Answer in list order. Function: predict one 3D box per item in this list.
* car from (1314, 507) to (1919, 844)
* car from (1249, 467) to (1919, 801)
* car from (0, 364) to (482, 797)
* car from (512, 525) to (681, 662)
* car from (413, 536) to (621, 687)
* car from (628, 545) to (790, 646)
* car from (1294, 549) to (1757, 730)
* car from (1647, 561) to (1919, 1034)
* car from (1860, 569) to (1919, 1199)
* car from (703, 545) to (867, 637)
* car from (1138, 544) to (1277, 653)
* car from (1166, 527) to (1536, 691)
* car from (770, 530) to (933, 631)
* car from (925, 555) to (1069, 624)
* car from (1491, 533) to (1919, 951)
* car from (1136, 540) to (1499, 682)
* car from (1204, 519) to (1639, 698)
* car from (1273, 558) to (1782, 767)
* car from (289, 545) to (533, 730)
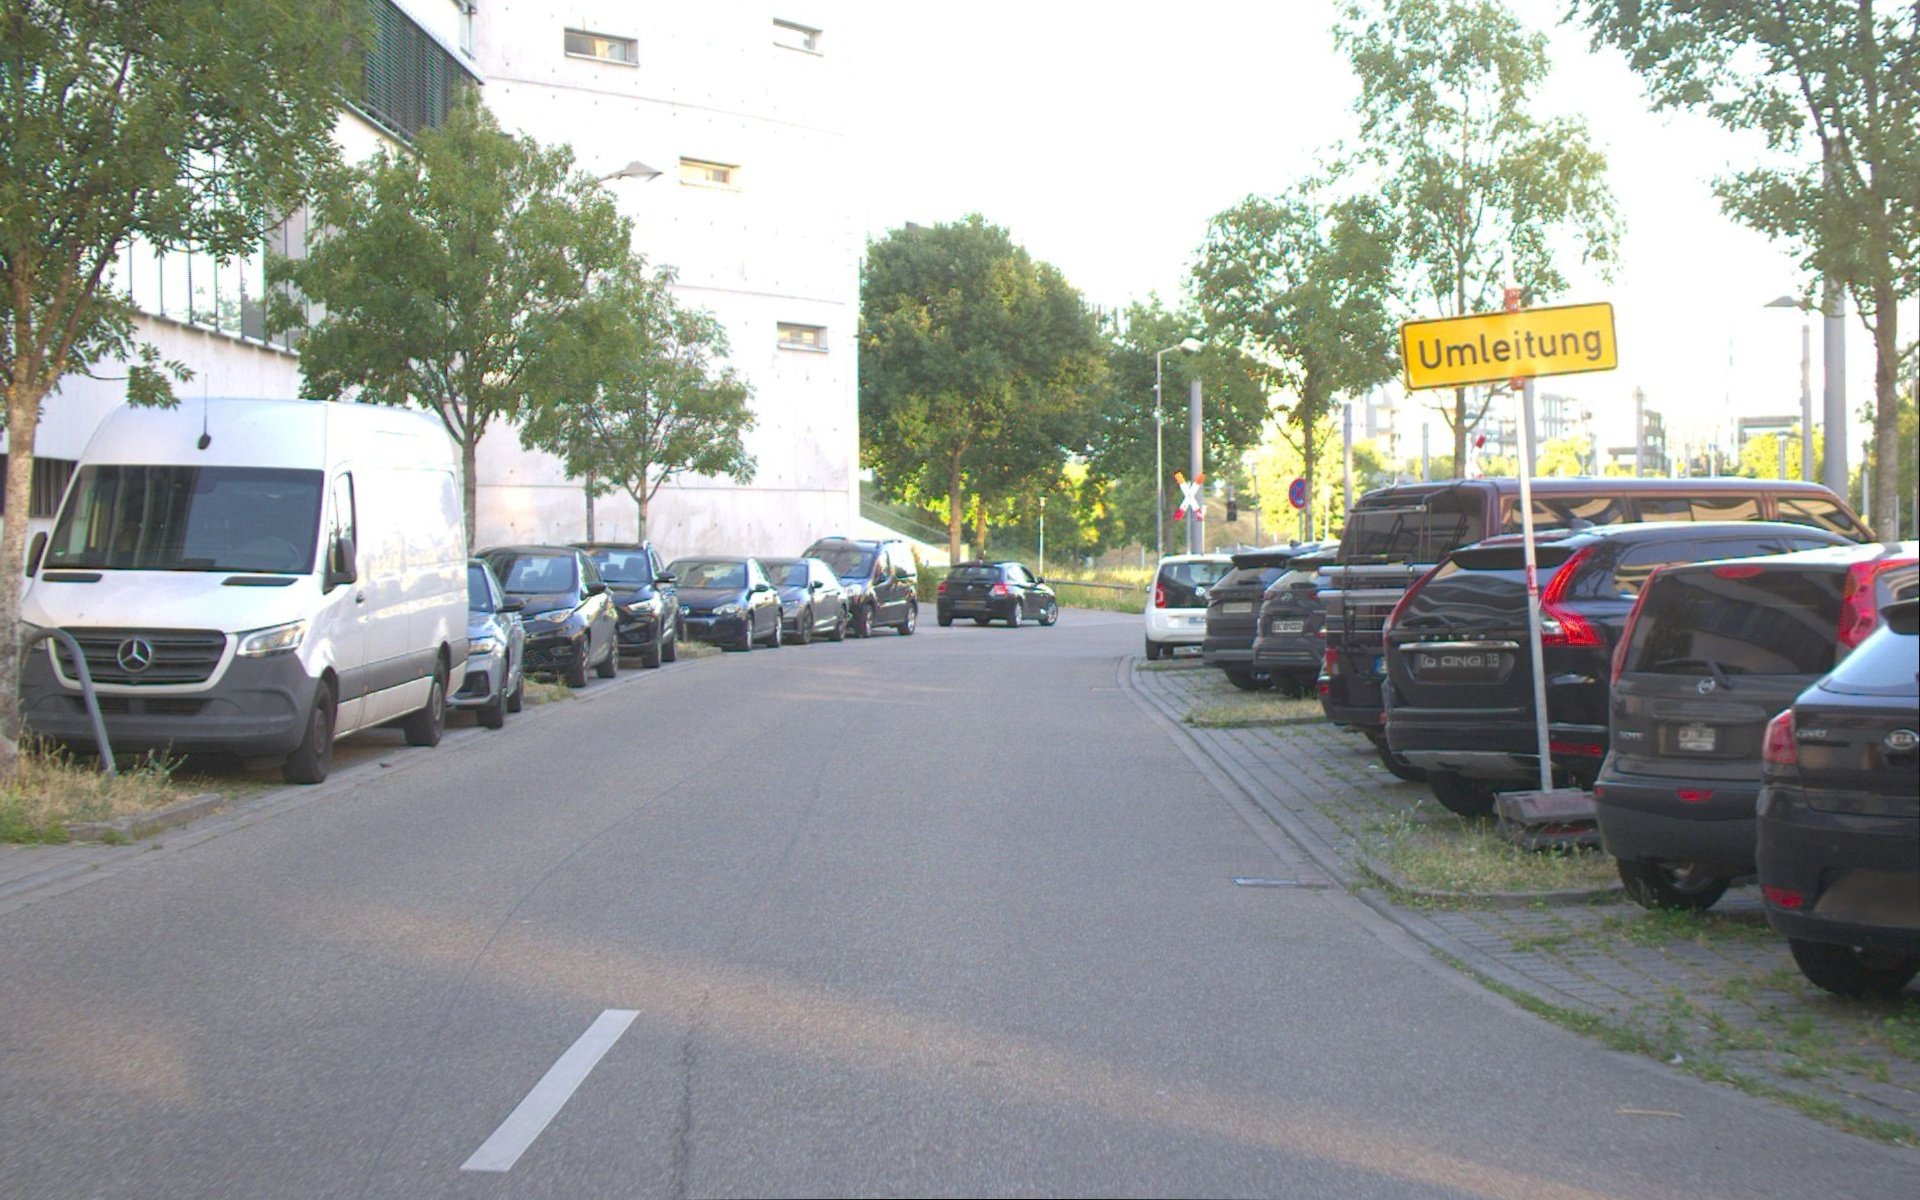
[{"bbox_3d":[4.460,0.378,19.982,4.588,1.743,1.871,0,2,-33],"label":"car"},{"bbox_3d":[4.344,0.181,22.951,4.588,2.028,1.871,0,2,-33],"label":"car"},{"bbox_3d":[-4.955,-0.215,24.552,1.958,2.608,6.893,2,2,1],"label":"car"},{"bbox_3d":[-4.701,-0.122,44.936,1.756,1.648,3.949,2,2,0],"label":"car"},{"bbox_3d":[-5.022,0.086,39.416,1.756,1.555,4.043,2,2,1],"label":"car"},{"bbox_3d":[-3.911,-0.103,54.239,1.723,1.452,4.270,2,2,7],"label":"car"},{"bbox_3d":[4.919,0.311,29.771,3.767,1.437,1.763,0,2,-35],"label":"car"},{"bbox_3d":[4.432,0.586,12.107,3.988,1.460,1.736,-1,1,-37],"label":"car"},{"bbox_3d":[4.398,0.622,8.699,3.987,1.515,1.928,-2,0,-34],"label":"car"},{"bbox_3d":[-2.990,-0.189,59.652,1.723,1.452,4.692,2,2,11],"label":"car"},{"bbox_3d":[3.611,-0.051,49.699,1.723,1.462,3.552,-1,1,9],"label":"car"},{"bbox_3d":[4.361,0.084,38.209,3.766,1.720,1.764,0,2,-32],"label":"car"},{"bbox_3d":[-2.005,-0.406,64.813,1.758,1.792,4.460,2,2,16],"label":"car"},{"bbox_3d":[0.845,-0.254,74.848,1.946,1.378,4.396,2,2,17],"label":"car"},{"bbox_3d":[4.399,0.565,15.011,3.987,1.589,1.737,1,1,-35],"label":"car"},{"bbox_3d":[4.338,0.107,41.628,3.920,1.504,1.957,-3,2,-29],"label":"car"},{"bbox_3d":[4.762,0.069,35.477,3.973,1.634,1.973,-3,1,-27],"label":"car"},{"bbox_3d":[4.402,0.443,26.486,3.767,1.460,1.639,0,2,-35],"label":"car"},{"bbox_3d":[-4.766,0.281,30.285,1.755,1.434,3.902,1,2,-4],"label":"car"}]
